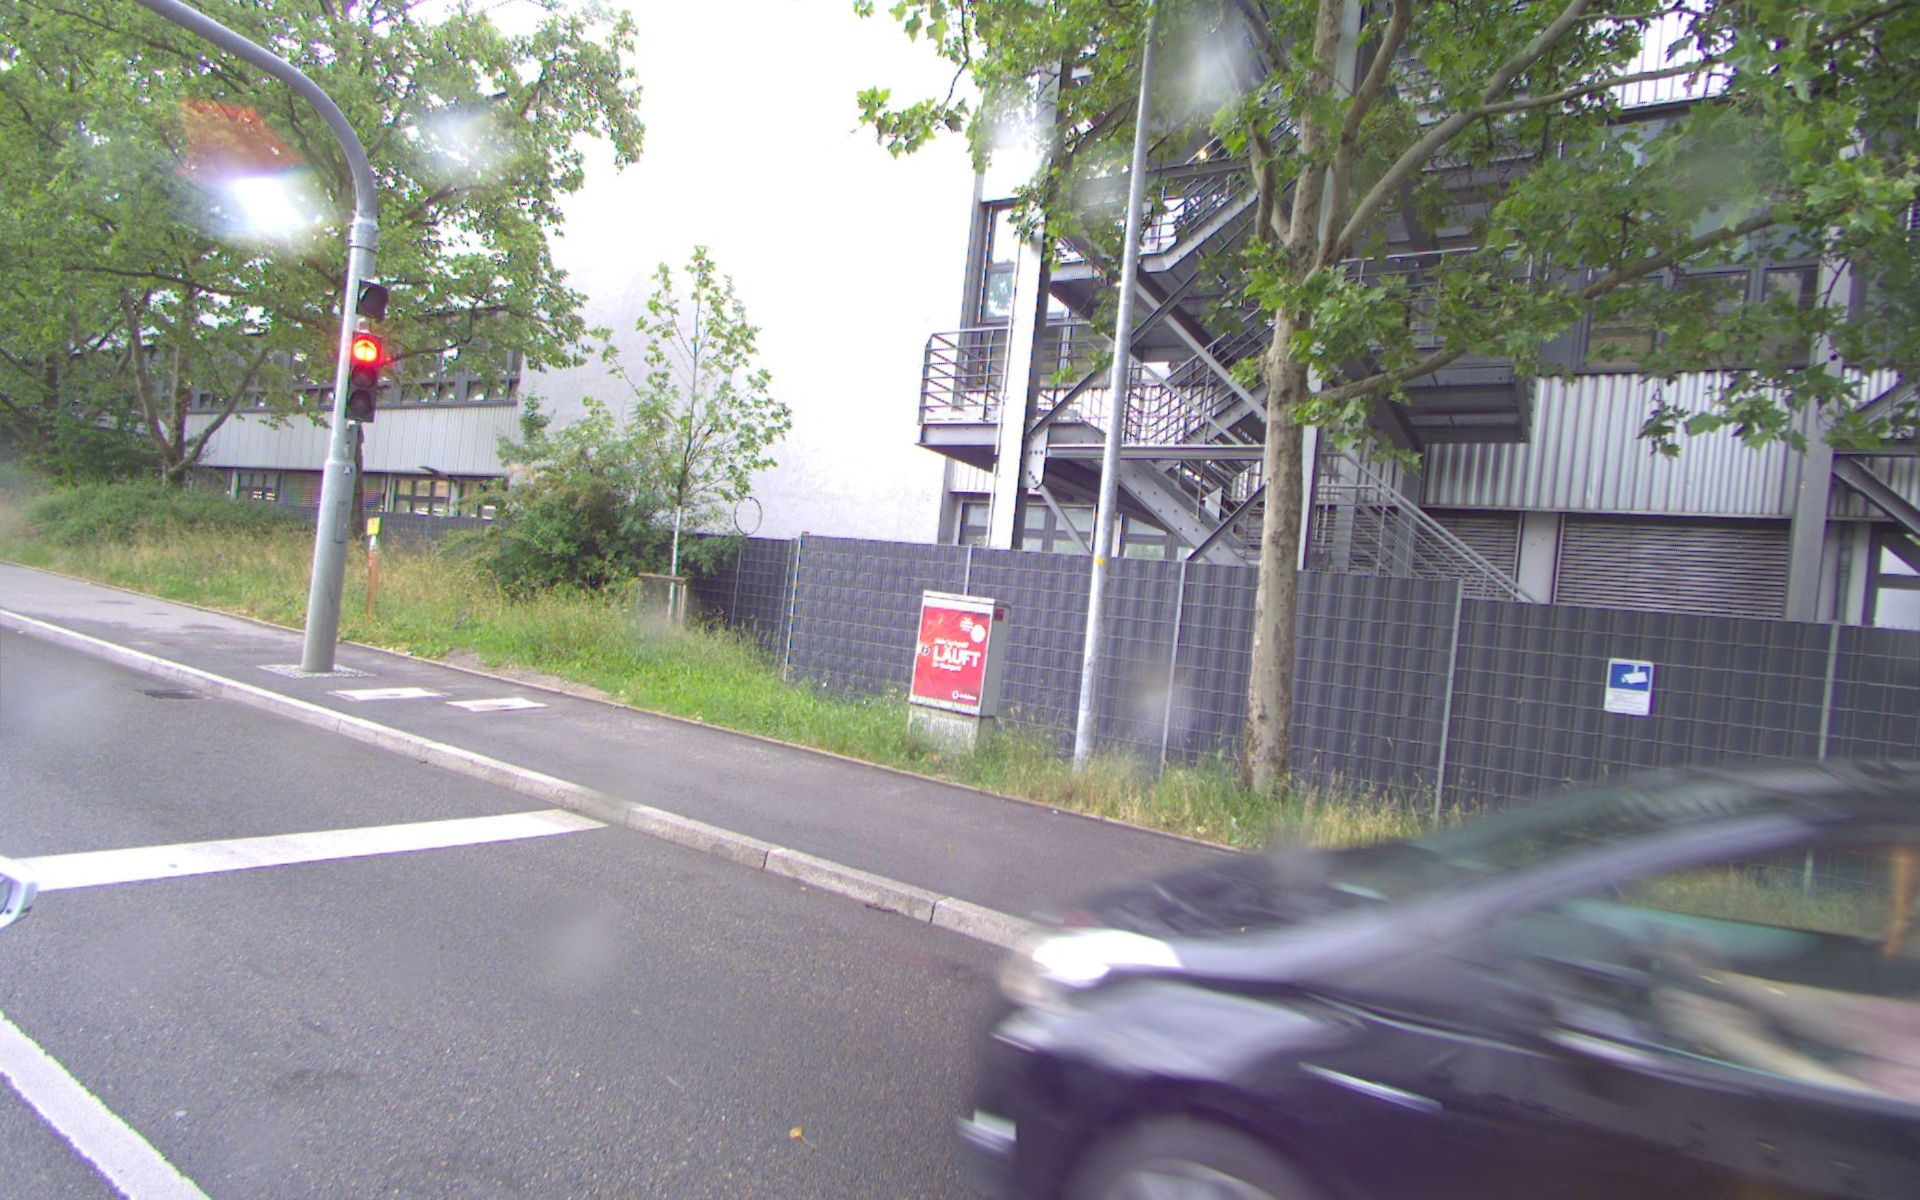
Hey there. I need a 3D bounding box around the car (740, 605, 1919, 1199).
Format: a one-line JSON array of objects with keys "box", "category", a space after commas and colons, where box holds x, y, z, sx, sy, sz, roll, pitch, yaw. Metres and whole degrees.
[{"box": [1.757, 1.020, 2.131, 4.005, 1.513, 1.879, 7, 1, 28], "category": "car"}]
